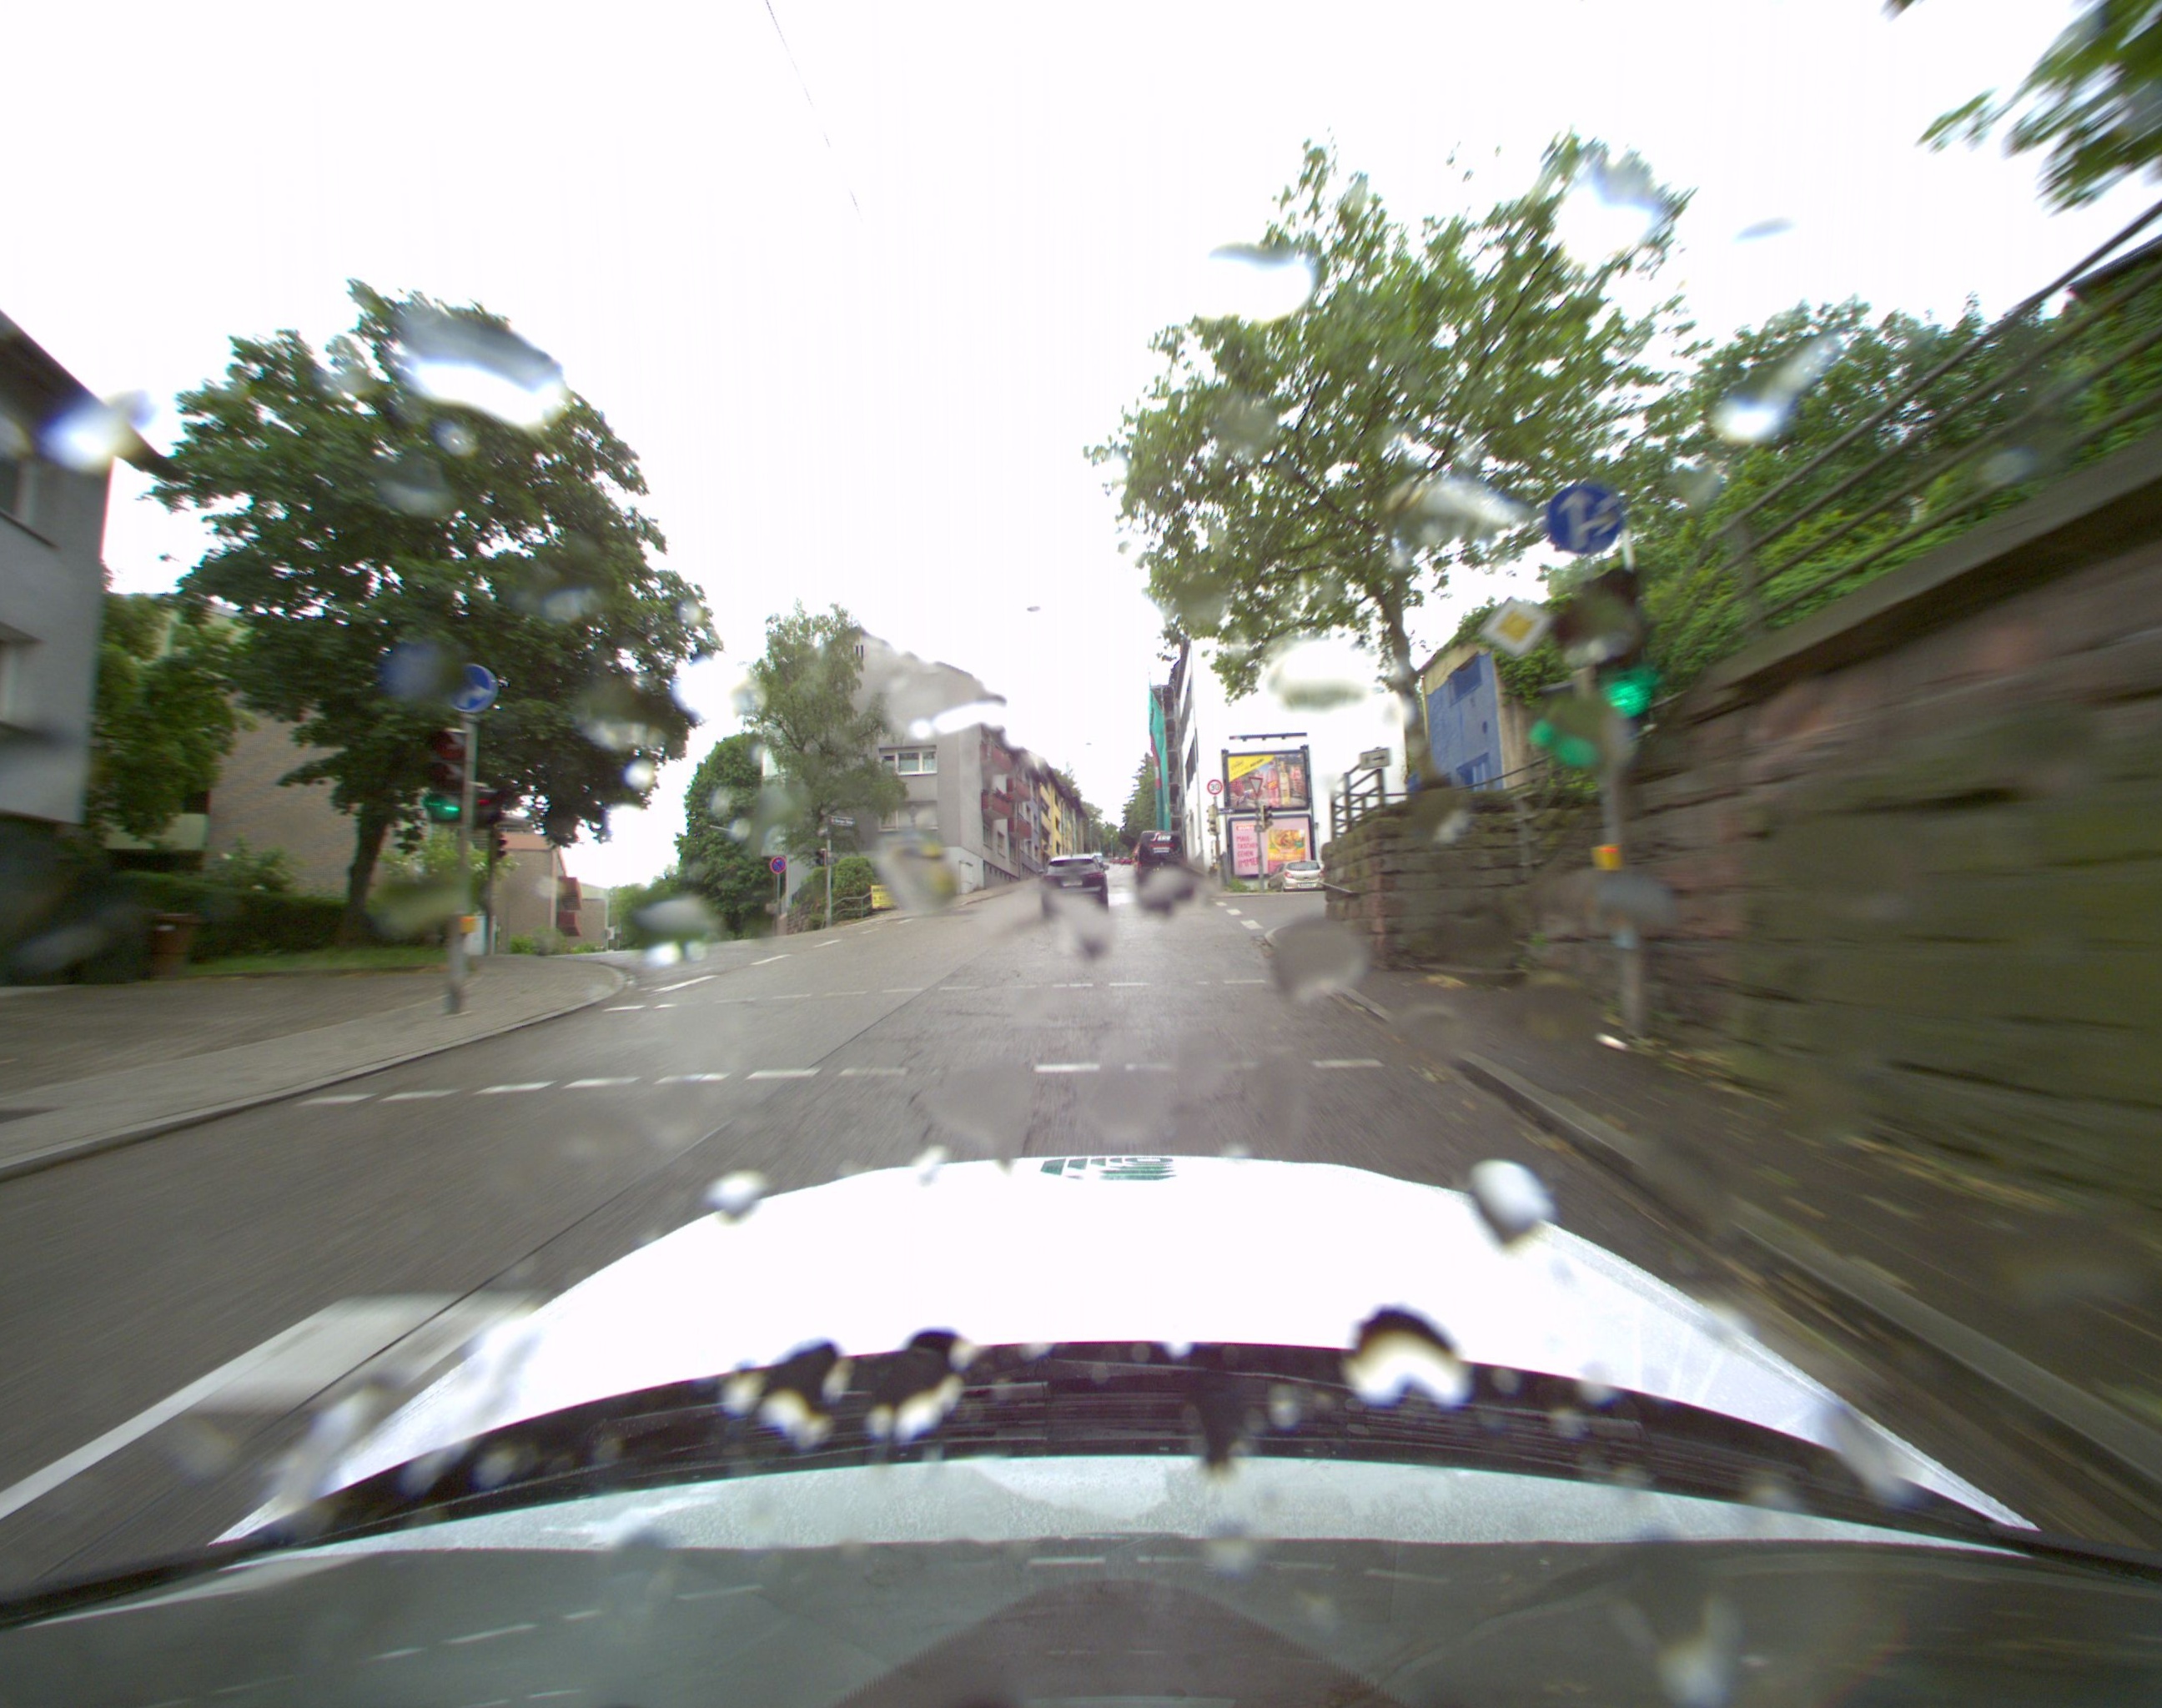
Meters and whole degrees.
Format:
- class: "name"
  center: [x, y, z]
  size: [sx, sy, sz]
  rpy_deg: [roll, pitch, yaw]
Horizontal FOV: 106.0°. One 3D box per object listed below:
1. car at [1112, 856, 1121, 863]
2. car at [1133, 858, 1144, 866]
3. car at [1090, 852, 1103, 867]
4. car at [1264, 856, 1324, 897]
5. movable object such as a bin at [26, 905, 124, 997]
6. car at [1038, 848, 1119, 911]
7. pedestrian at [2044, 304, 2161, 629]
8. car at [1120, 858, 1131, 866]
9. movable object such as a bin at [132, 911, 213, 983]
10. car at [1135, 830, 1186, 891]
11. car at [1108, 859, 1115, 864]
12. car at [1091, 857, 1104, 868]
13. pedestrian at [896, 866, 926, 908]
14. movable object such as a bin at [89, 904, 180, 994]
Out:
- class: "car"
  center: [8.434, 1.403, 193.782]
  size: [2.066, 1.559, 4.002]
  rpy_deg: [-2, 0, 2]
- class: "car"
  center: [12.169, 1.625, 172.775]
  size: [2.068, 1.559, 3.999]
  rpy_deg: [-2, 0, 0]
- class: "car"
  center: [2.701, 0.929, 139.622]
  size: [1.982, 2.475, 5.787]
  rpy_deg: [-3, 0, 2]
- class: "car"
  center: [8.551, 0.869, 32.931]
  size: [1.555, 1.484, 4.003]
  rpy_deg: [-1, 0, 3]
- class: "movable object such as a bin"
  center: [-13.906, 1.322, 11.277]
  size: [0.562, 1.200, 0.683]
  rpy_deg: [0, -3, -23]
- class: "car"
  center: [0.025, 0.633, 22.647]
  size: [1.985, 1.559, 4.004]
  rpy_deg: [-1, 0, 3]
- class: "pedestrian"
  center: [6.642, -2.373, 4.934]
  size: [0.783, 1.677, 0.864]
  rpy_deg: [-2, -4, -37]
- class: "car"
  center: [8.677, 1.525, 158.329]
  size: [2.067, 1.559, 4.002]
  rpy_deg: [-2, 0, 2]
- class: "movable object such as a bin"
  center: [-13.531, 1.372, 12.146]
  size: [0.630, 1.016, 0.497]
  rpy_deg: [0, -3, -22]
- class: "car"
  center: [3.400, 0.375, 35.865]
  size: [1.985, 2.414, 5.840]
  rpy_deg: [-1, -3, 3]
- class: "car"
  center: [9.377, 2.254, 248.313]
  size: [2.066, 1.559, 4.002]
  rpy_deg: [-2, 0, 2]
- class: "car"
  center: [2.674, 1.338, 129.908]
  size: [1.983, 1.755, 4.482]
  rpy_deg: [-3, 0, 2]
- class: "pedestrian"
  center: [-6.395, 1.255, 30.731]
  size: [0.866, 1.541, 1.087]
  rpy_deg: [-1, -3, 0]
- class: "movable object such as a bin"
  center: [-13.375, 1.322, 11.529]
  size: [0.562, 1.200, 0.683]
  rpy_deg: [0, -3, -23]
